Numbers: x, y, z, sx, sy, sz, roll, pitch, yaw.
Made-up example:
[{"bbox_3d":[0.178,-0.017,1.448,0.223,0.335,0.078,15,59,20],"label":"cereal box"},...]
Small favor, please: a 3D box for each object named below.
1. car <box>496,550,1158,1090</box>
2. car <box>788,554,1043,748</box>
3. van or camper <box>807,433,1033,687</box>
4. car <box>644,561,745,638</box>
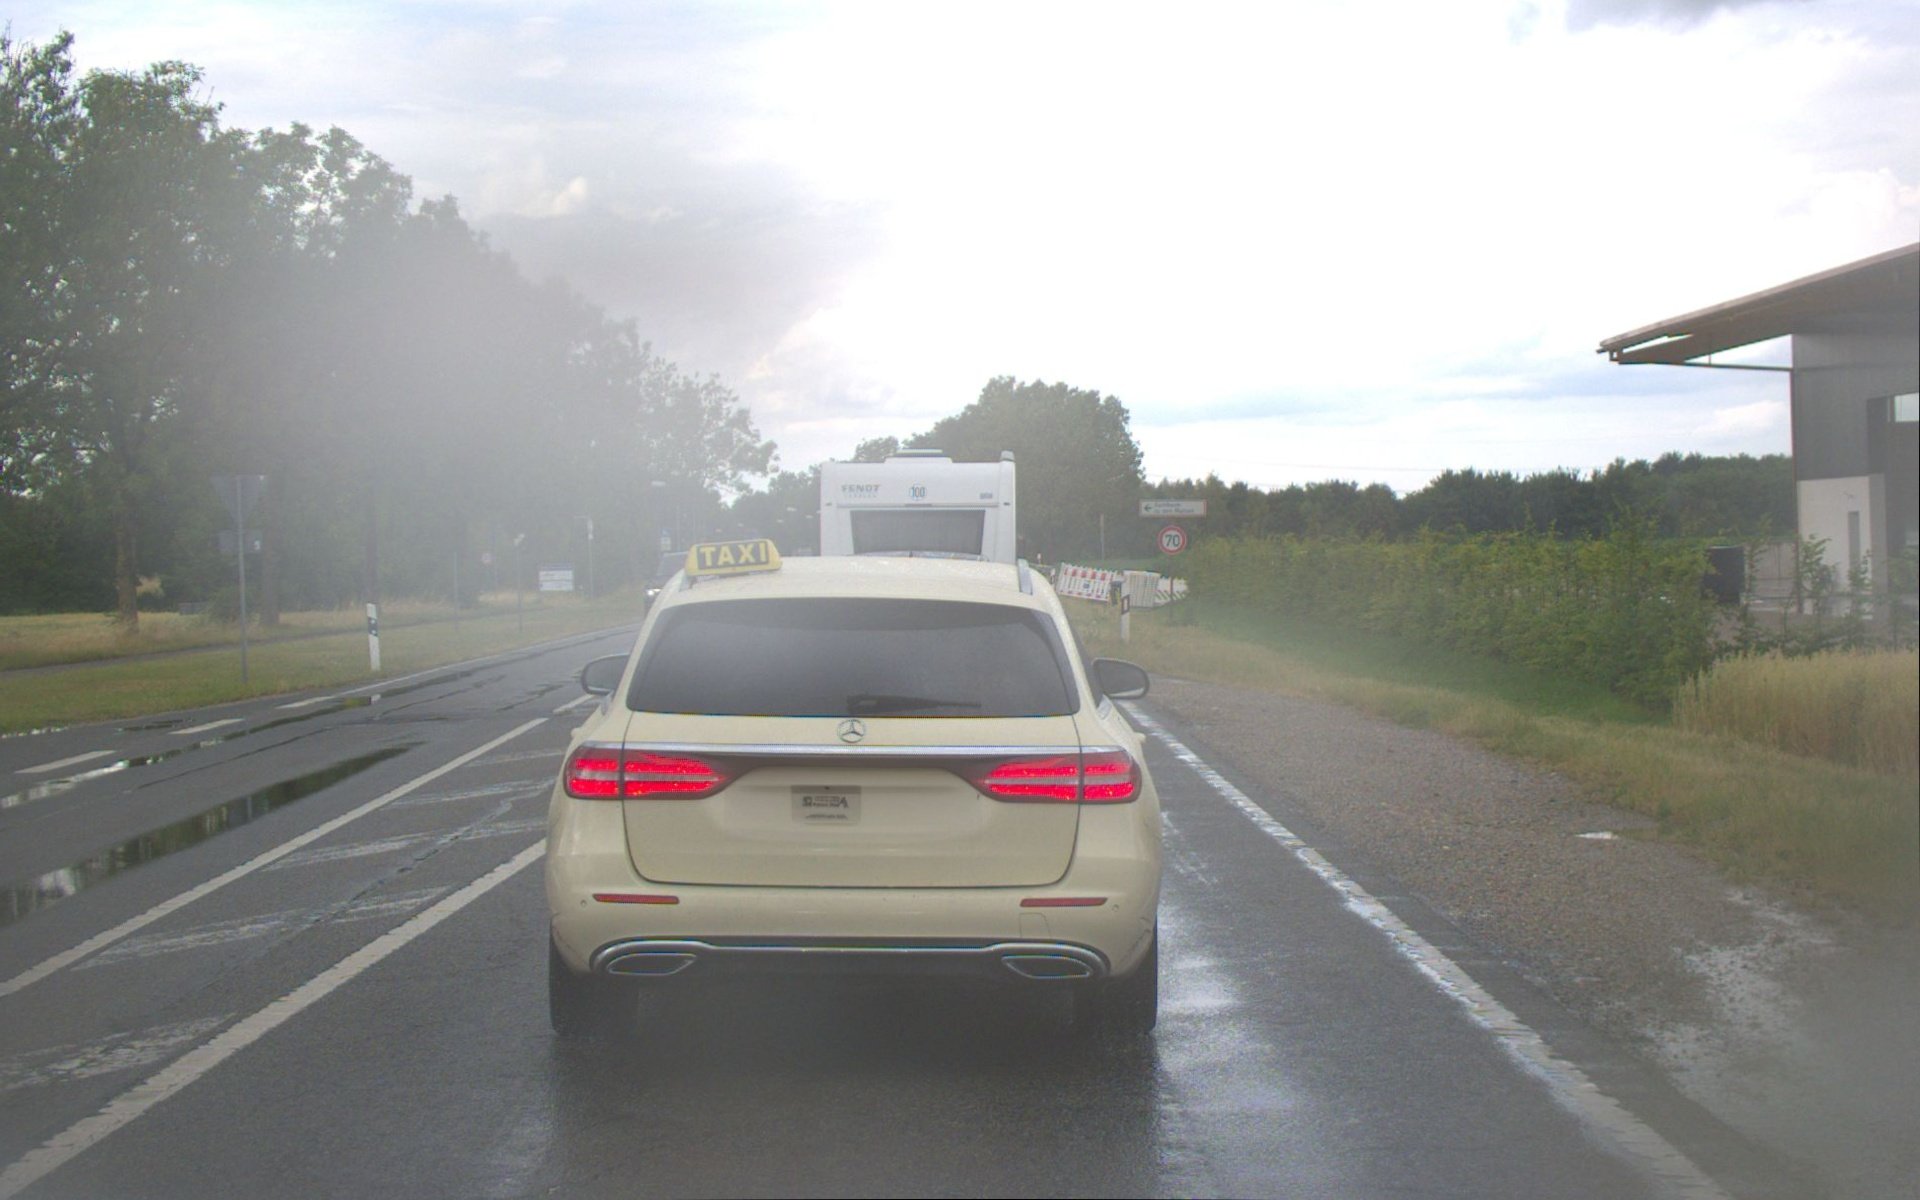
[{"bbox_3d":[-0.363,0.568,11.350,1.797,1.459,4.031,0,1,0],"label":"car"},{"bbox_3d":[-0.365,0.354,27.541,1.894,1.424,3.928,0,1,-1],"label":"car"},{"bbox_3d":[-0.438,-0.495,42.295,2.497,2.821,5.934,-2,1,0],"label":"van or camper"},{"bbox_3d":[-5.787,-0.033,75.333,1.916,1.626,4.357,0,1,-1],"label":"car"}]
